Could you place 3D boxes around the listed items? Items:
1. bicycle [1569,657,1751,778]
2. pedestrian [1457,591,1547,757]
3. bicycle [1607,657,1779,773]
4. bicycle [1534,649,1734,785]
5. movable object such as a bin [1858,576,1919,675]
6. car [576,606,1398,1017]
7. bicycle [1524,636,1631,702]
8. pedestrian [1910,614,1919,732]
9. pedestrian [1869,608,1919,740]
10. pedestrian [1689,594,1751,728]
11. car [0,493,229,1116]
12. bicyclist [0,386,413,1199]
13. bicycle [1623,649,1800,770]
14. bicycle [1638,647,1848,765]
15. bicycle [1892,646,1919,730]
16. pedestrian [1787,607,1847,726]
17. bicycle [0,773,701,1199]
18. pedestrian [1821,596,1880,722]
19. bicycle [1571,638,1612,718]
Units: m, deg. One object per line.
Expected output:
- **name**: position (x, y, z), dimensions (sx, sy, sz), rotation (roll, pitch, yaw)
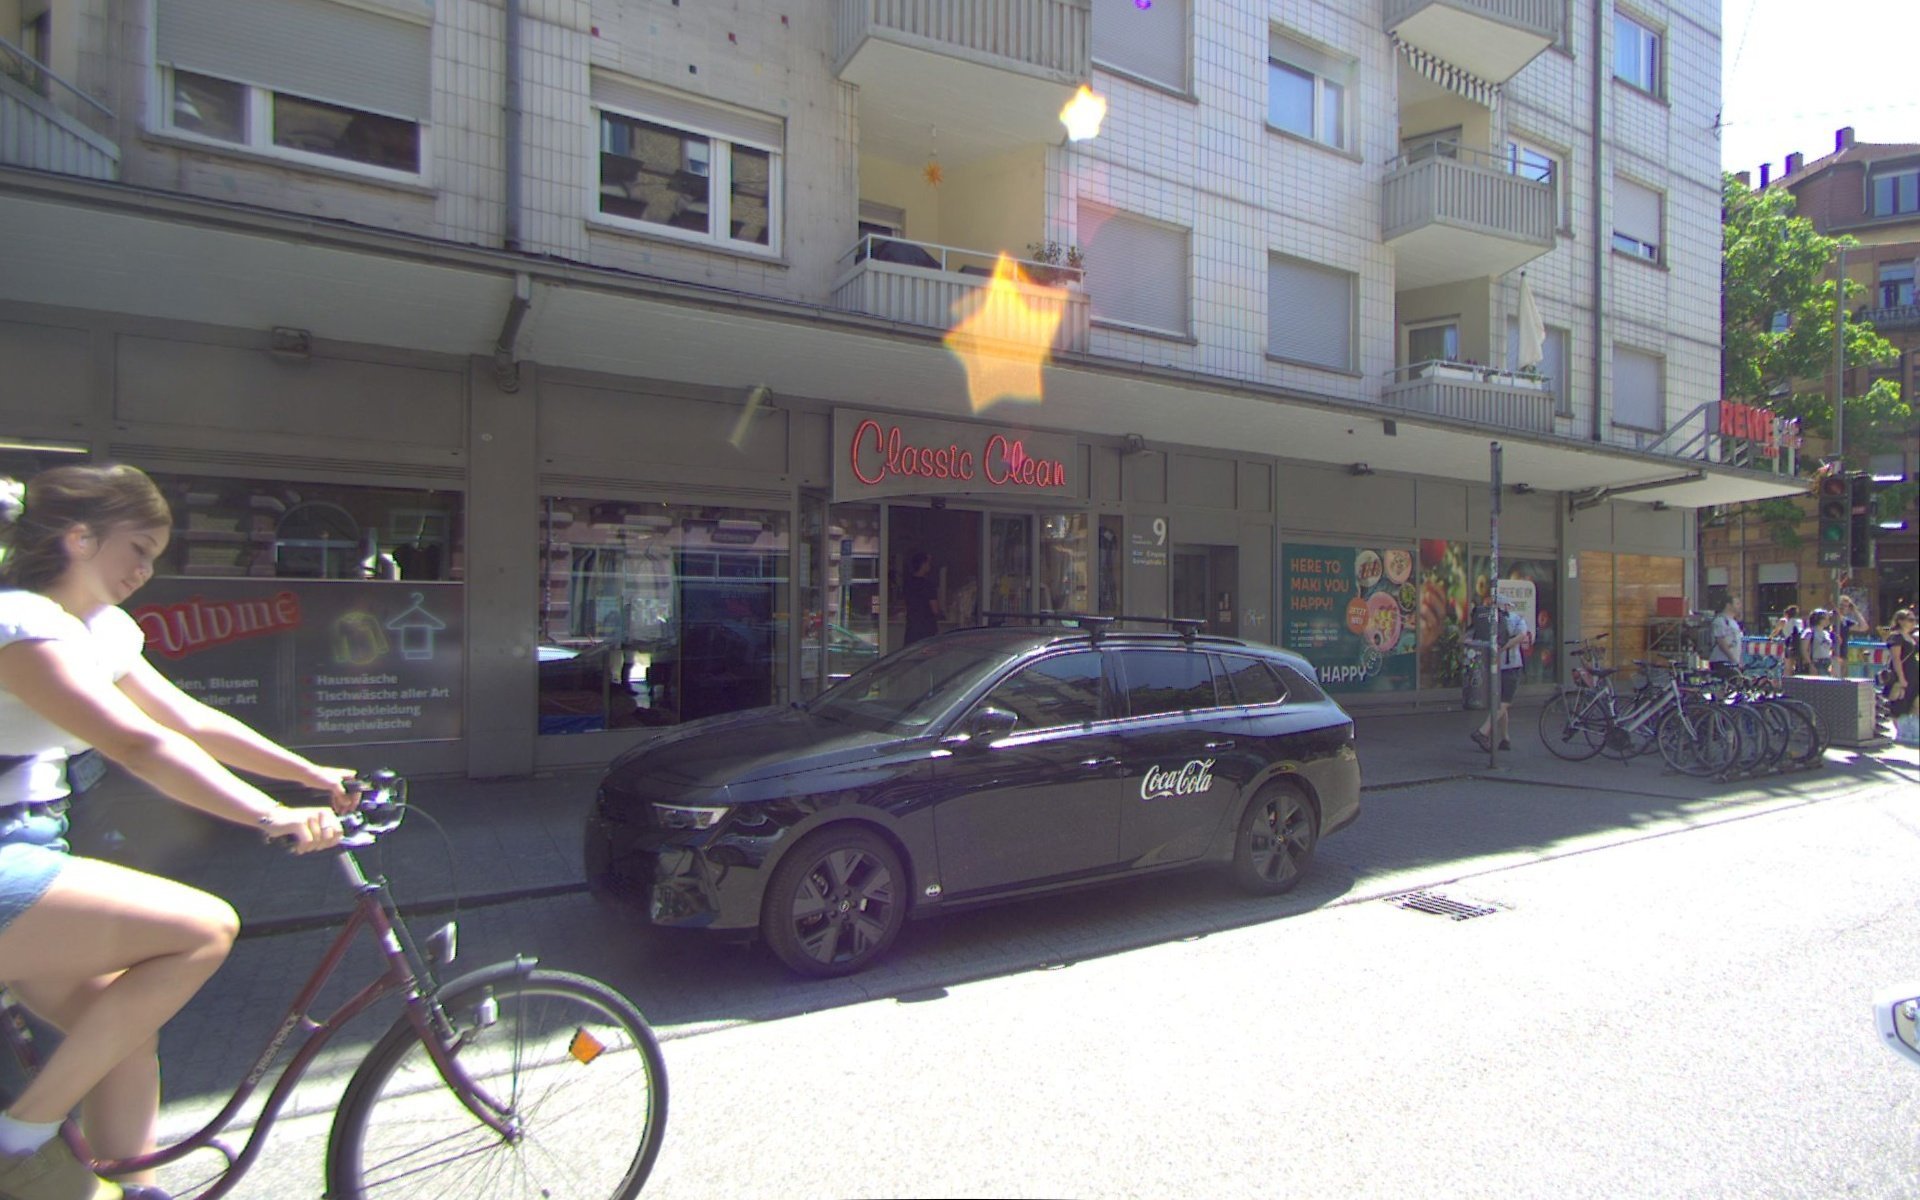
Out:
- **bicycle**: position (7.227, 1.178, 10.434), dimensions (0.394, 1.044, 1.484), rotation (1, 1, -33)
- **pedestrian**: position (5.959, 0.792, 11.055), dimensions (0.650, 1.749, 0.627), rotation (1, -1, -29)
- **bicycle**: position (7.798, 1.189, 10.750), dimensions (0.332, 1.050, 1.439), rotation (1, 1, -33)
- **bicycle**: position (6.754, 1.124, 10.149), dimensions (0.521, 1.154, 1.574), rotation (1, 1, -33)
- **movable object such as a bin**: position (27.306, 0.719, 26.828), dimensions (1.931, 2.694, 4.523), rotation (1, 0, -29)
- **car**: position (0.302, 0.838, 5.646), dimensions (4.410, 1.545, 1.662), rotation (1, 0, -30)
- **bicycle**: position (10.787, 1.183, 17.583), dimensions (1.553, 1.086, 0.340), rotation (-1, -2, 44)
- **pedestrian**: position (13.187, 0.985, 13.429), dimensions (0.450, 1.587, 0.497), rotation (1, 1, -3)
- **pedestrian**: position (12.136, 0.941, 12.921), dimensions (0.506, 1.654, 0.538), rotation (1, -1, -32)
- **pedestrian**: position (10.489, 0.828, 13.867), dimensions (0.593, 1.794, 0.506), rotation (1, -1, -32)
- **car**: position (-4.892, 0.574, 2.660), dimensions (4.648, 1.835, 1.778), rotation (1, 0, -33)
- **bicyclist**: position (-1.621, 0.522, 1.943), dimensions (0.967, 1.729, 0.620), rotation (1, -1, -30)
- **bicycle**: position (8.201, 1.162, 11.026), dimensions (0.332, 1.132, 1.510), rotation (1, 1, -33)
- **bicycle**: position (8.900, 1.161, 11.499), dimensions (0.572, 1.138, 1.786), rotation (1, 1, -35)
- **bicycle**: position (13.451, 1.221, 13.234), dimensions (0.459, 1.134, 1.808), rotation (1, 1, -8)
- **pedestrian**: position (12.323, 0.939, 14.449), dimensions (0.593, 1.654, 0.506), rotation (1, -1, -32)
- **bicycle**: position (-1.544, 1.005, 1.976), dimensions (1.917, 1.106, 0.600), rotation (1, -1, -31)
- **pedestrian**: position (13.322, 0.866, 15.030), dimensions (0.593, 1.844, 0.506), rotation (1, -1, -32)
- **bicycle**: position (9.486, 1.147, 15.075), dimensions (0.317, 1.101, 1.425), rotation (0, 0, 41)
